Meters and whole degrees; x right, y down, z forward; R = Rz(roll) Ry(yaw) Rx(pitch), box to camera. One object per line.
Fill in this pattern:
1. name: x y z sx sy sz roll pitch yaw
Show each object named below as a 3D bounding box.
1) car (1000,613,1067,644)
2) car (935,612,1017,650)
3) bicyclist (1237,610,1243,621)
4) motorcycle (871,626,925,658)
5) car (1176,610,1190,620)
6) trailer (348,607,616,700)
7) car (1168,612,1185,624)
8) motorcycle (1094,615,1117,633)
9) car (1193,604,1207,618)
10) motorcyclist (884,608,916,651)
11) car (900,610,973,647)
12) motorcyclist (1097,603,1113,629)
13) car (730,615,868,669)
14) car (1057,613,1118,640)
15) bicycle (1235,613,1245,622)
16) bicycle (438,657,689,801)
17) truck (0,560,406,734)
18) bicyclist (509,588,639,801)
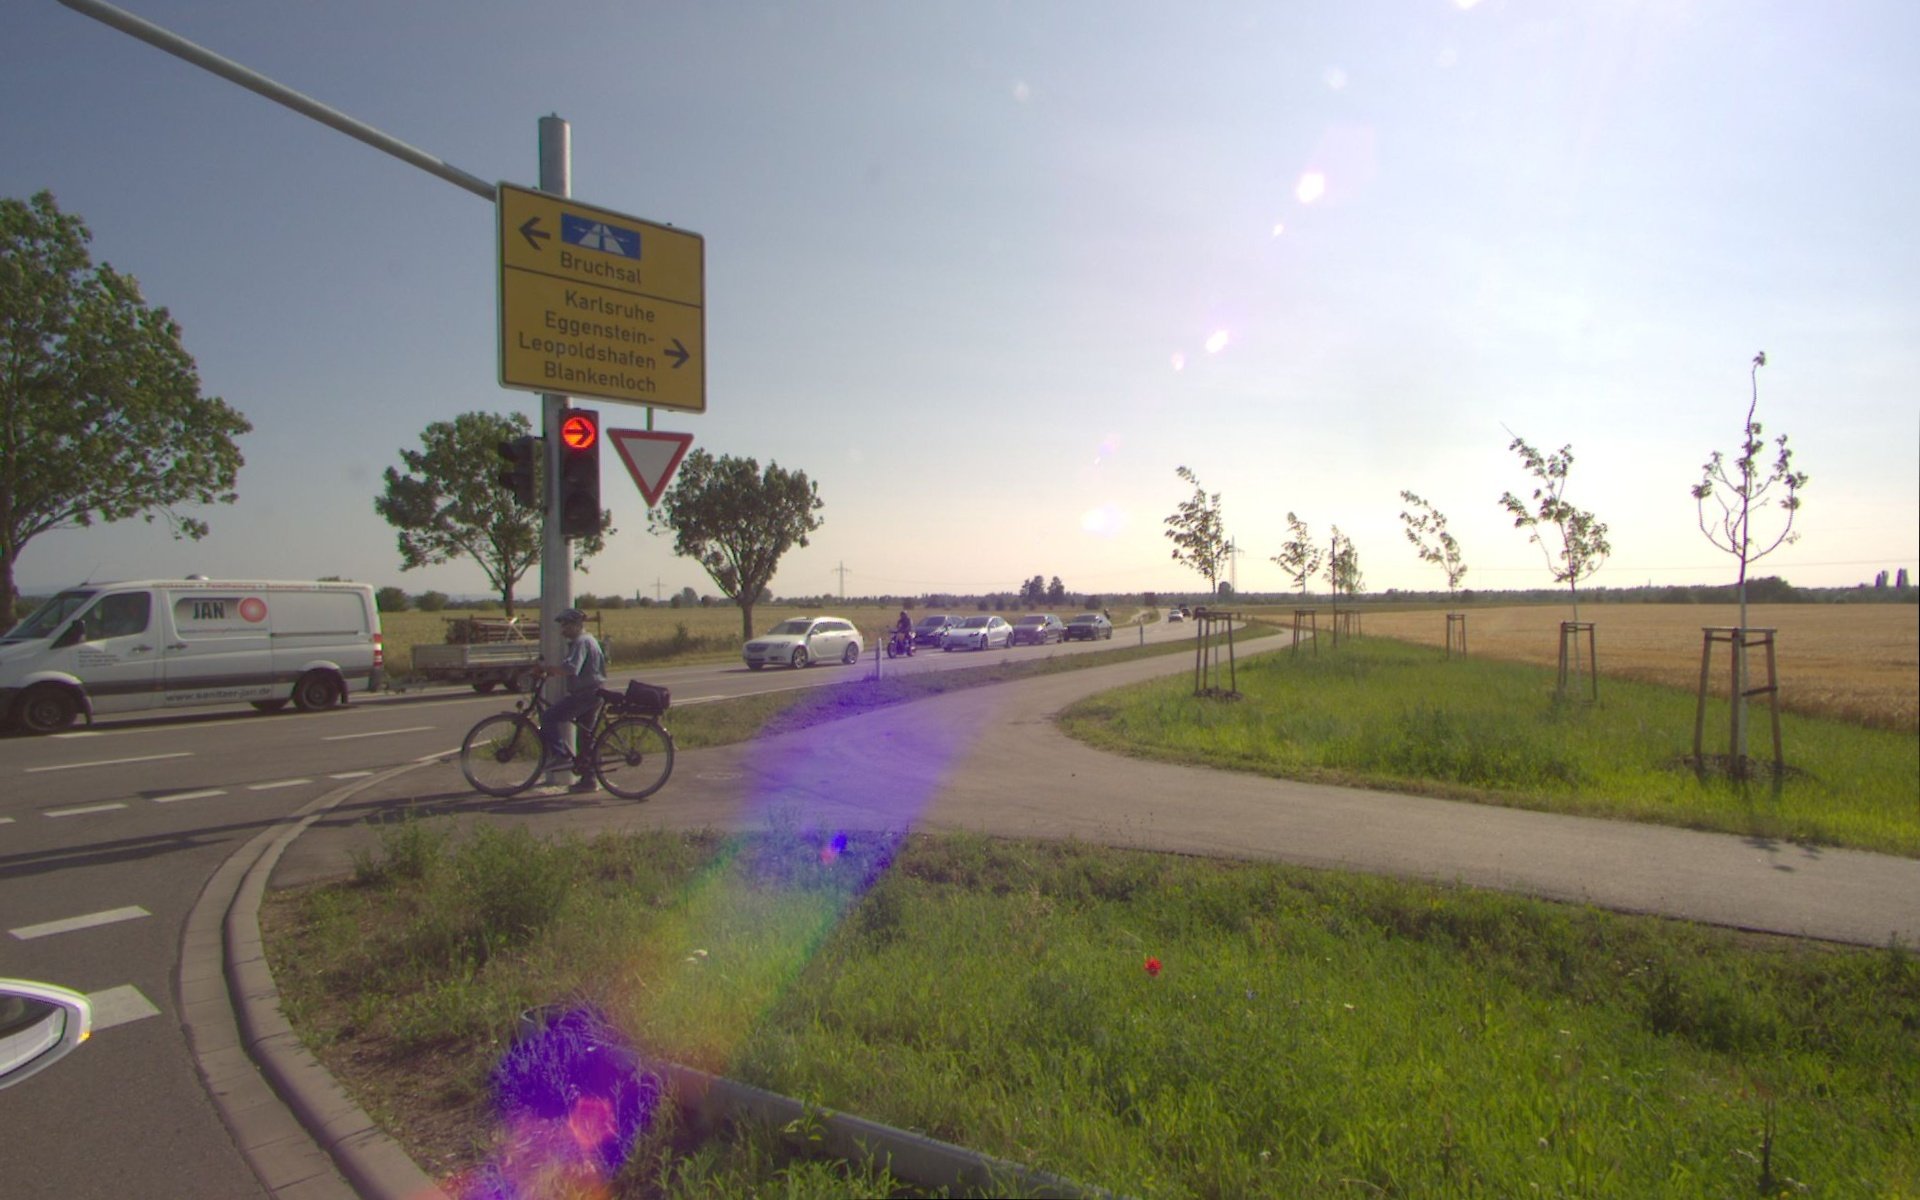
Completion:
1. car: 3.671 1.368 49.154 1.866 1.480 4.292 -1 -1 25
2. car: 0.762 1.306 42.849 1.866 1.486 4.260 -1 0 26
3. bicyclist: 39.351 2.185 140.596 0.627 1.476 0.817 2 1 3
4. motorcycle: -2.256 1.531 36.737 0.885 1.057 2.419 -1 0 26
5. car: 40.061 2.732 179.959 1.941 1.703 4.106 -1 -1 8
6. trailer: -10.098 1.056 21.604 1.952 1.760 4.988 -2 -1 30
7. car: 26.491 2.228 122.583 1.661 1.421 3.994 -2 -1 17
8. motorcycle: 8.799 1.432 60.406 0.859 1.087 1.962 -1 0 25
9. car: 33.128 1.475 138.180 1.811 1.858 4.463 1 0 14
10. motorcyclist: -2.192 1.067 36.701 0.670 1.535 1.176 -1 0 27
11. car: -1.078 1.373 48.489 1.861 1.646 3.986 -3 -2 26
12. motorcyclist: 8.741 0.975 60.347 0.669 1.515 0.844 -1 0 25
13. car: -4.847 1.245 30.868 1.738 1.511 4.690 -1 -1 27
14. car: 7.133 1.447 55.546 1.866 1.455 4.779 -1 -1 27
15. bicycle: 39.337 2.421 140.576 0.831 1.157 2.206 2 0 3
16. bicycle: -3.415 1.126 8.803 1.910 1.165 0.681 3 -2 -13
17. truck: -12.915 0.698 16.772 2.042 2.436 6.167 -1 -1 32
18. bicyclist: -3.380 0.822 8.840 0.901 1.787 0.619 3 -2 -13
